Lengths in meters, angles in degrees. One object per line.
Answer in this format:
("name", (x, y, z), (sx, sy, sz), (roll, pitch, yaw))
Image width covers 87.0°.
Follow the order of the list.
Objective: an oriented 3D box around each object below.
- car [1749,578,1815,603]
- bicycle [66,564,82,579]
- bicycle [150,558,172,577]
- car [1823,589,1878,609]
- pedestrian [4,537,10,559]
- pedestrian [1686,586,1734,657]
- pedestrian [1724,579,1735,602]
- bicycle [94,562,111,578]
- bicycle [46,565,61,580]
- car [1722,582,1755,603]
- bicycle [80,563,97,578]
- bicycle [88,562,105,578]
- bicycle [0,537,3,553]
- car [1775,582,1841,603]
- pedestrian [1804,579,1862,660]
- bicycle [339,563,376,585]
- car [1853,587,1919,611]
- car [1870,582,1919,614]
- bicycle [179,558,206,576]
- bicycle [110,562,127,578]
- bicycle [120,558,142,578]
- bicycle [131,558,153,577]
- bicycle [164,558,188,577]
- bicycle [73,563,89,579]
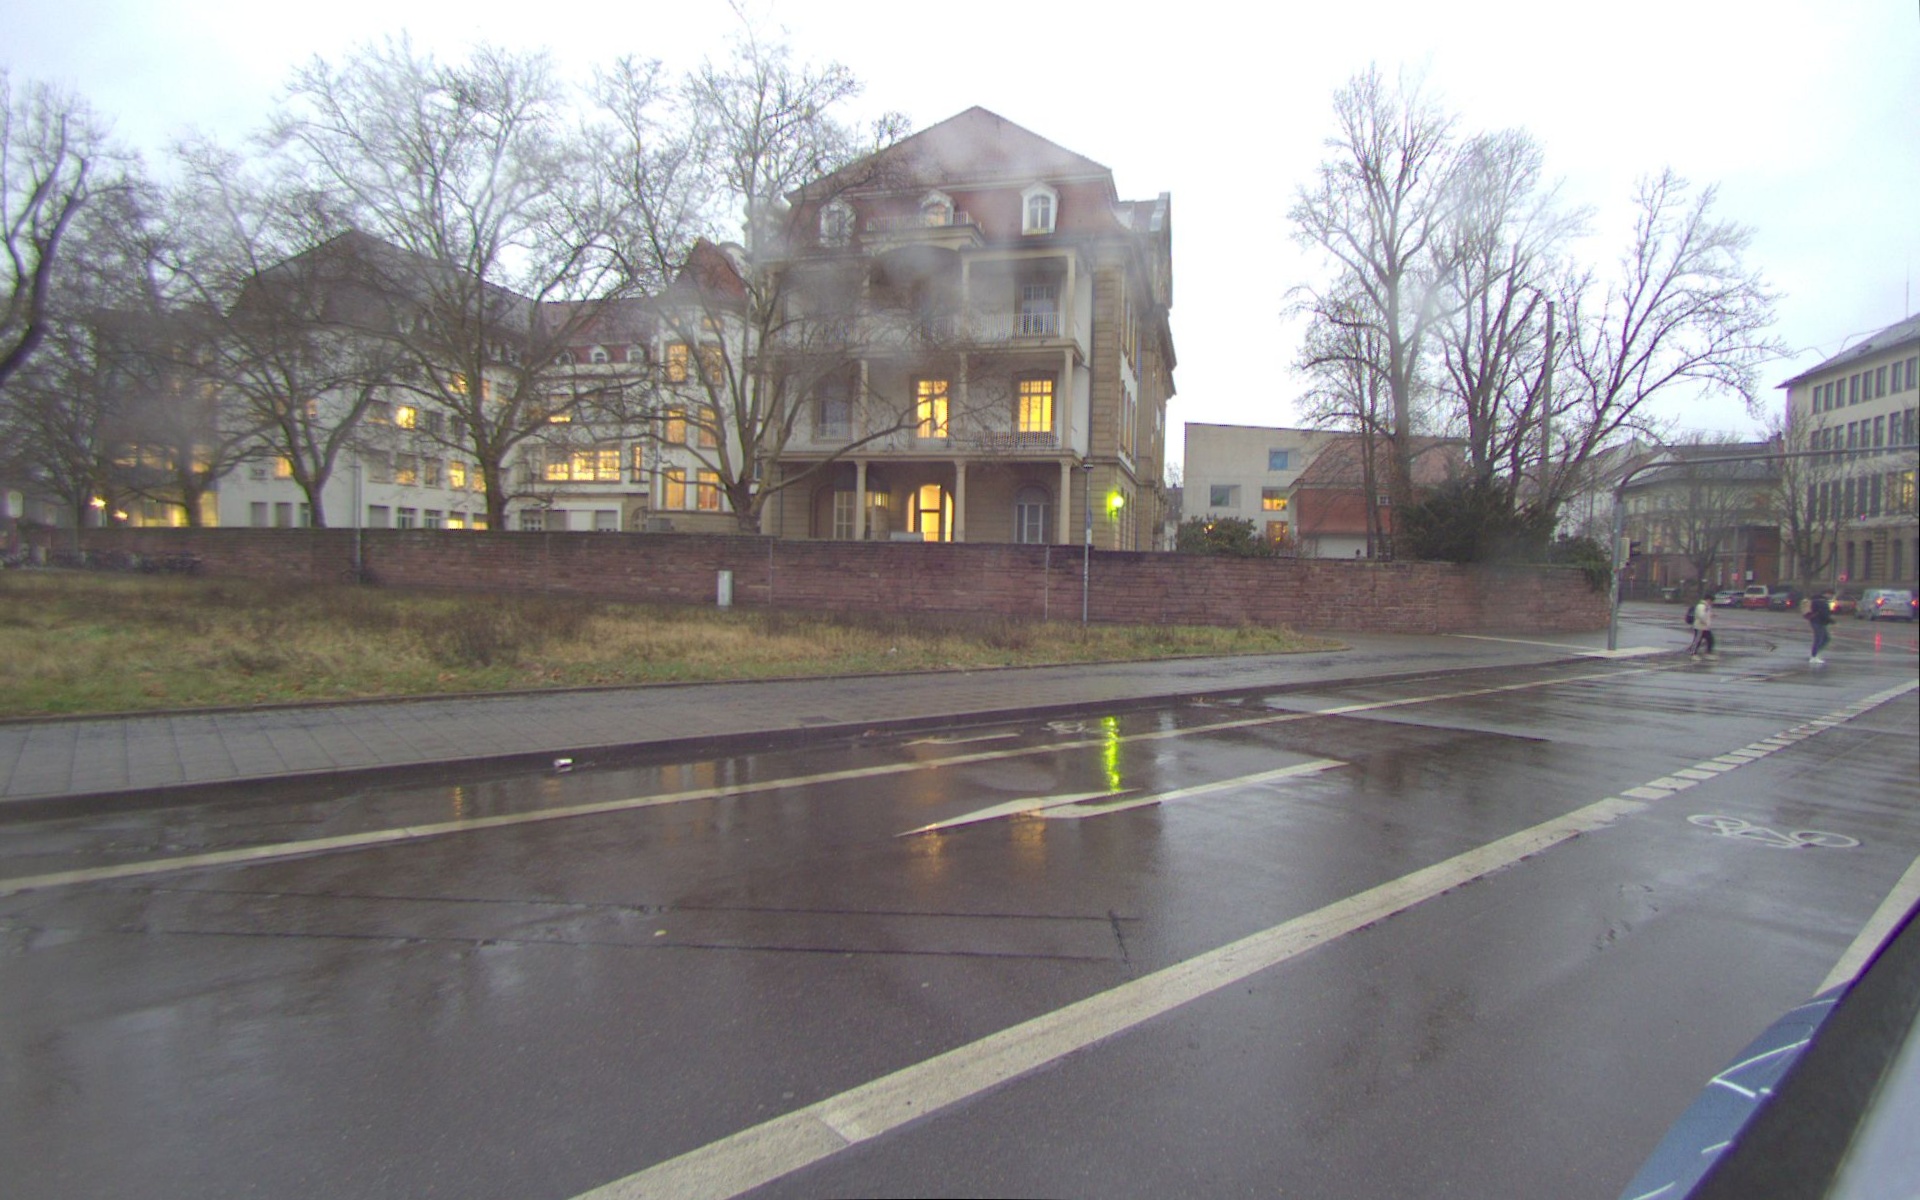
("car", (64.984, -0.788, 80.025), (3.916, 1.924, 2.052), (0, 0, -13))
("bicycle", (-47.892, -1.539, 54.674), (1.522, 0.796, 0.389), (0, 0, 38))
("bicycle", (-37.027, -1.498, 46.885), (1.480, 0.849, 0.346), (0, 0, 32))
("car", (63.606, -0.079, 72.302), (3.568, 1.322, 1.712), (-1, 0, -25))
("pedestrian", (-80.428, -4.399, 85.403), (0.312, 1.814, 0.462), (1, 2, -39))
("pedestrian", (19.062, 0.524, 25.717), (0.662, 1.744, 0.798), (0, 3, -42))
("pedestrian", (70.713, -0.869, 92.995), (0.468, 2.038, 0.545), (2, 2, 15))
("bicycle", (-43.127, -1.496, 50.896), (1.522, 0.796, 0.389), (0, 0, 38))
("bicycle", (-51.605, -1.548, 57.592), (1.522, 0.796, 0.389), (0, 0, 38))
("car", (66.484, -0.641, 86.390), (1.992, 1.690, 3.940), (0, 1, 42))
("bicycle", (-45.438, -1.533, 52.741), (1.522, 0.796, 0.389), (0, 0, 38))
("bicycle", (-44.175, -1.531, 51.767), (1.522, 0.796, 0.389), (0, 0, 38))
("bicycle", (-72.665, -4.130, 76.219), (1.670, 1.182, 0.603), (0, 0, 37))
("car", (64.703, -0.582, 77.228), (3.916, 1.570, 1.805), (0, 0, -13))
("pedestrian", (21.667, 0.466, 25.146), (0.996, 1.924, 0.664), (4, 3, 41))
("bicycle", (-23.380, -0.989, 39.271), (1.366, 0.835, 0.392), (0, 0, 14))
("car", (61.967, -0.058, 67.008), (3.927, 1.570, 1.800), (0, 0, 4))
("car", (57.456, -0.143, 61.864), (1.868, 1.868, 3.958), (0, 0, 30))
("bicycle", (-34.206, -1.469, 45.110), (1.399, 0.796, 0.355), (0, 0, 26))
("bicycle", (-41.470, -1.477, 49.876), (1.599, 0.796, 0.388), (0, 0, 41))
("bicycle", (-39.904, -1.540, 48.721), (1.519, 0.928, 0.389), (0, 0, 33))
("bicycle", (-38.622, -1.508, 47.768), (1.519, 0.869, 0.389), (0, 0, 33))
("bicycle", (-35.546, -1.470, 45.859), (1.519, 0.796, 0.389), (0, 0, 33))
("bicycle", (-46.668, -1.536, 53.719), (1.522, 0.796, 0.389), (0, 0, 38))
